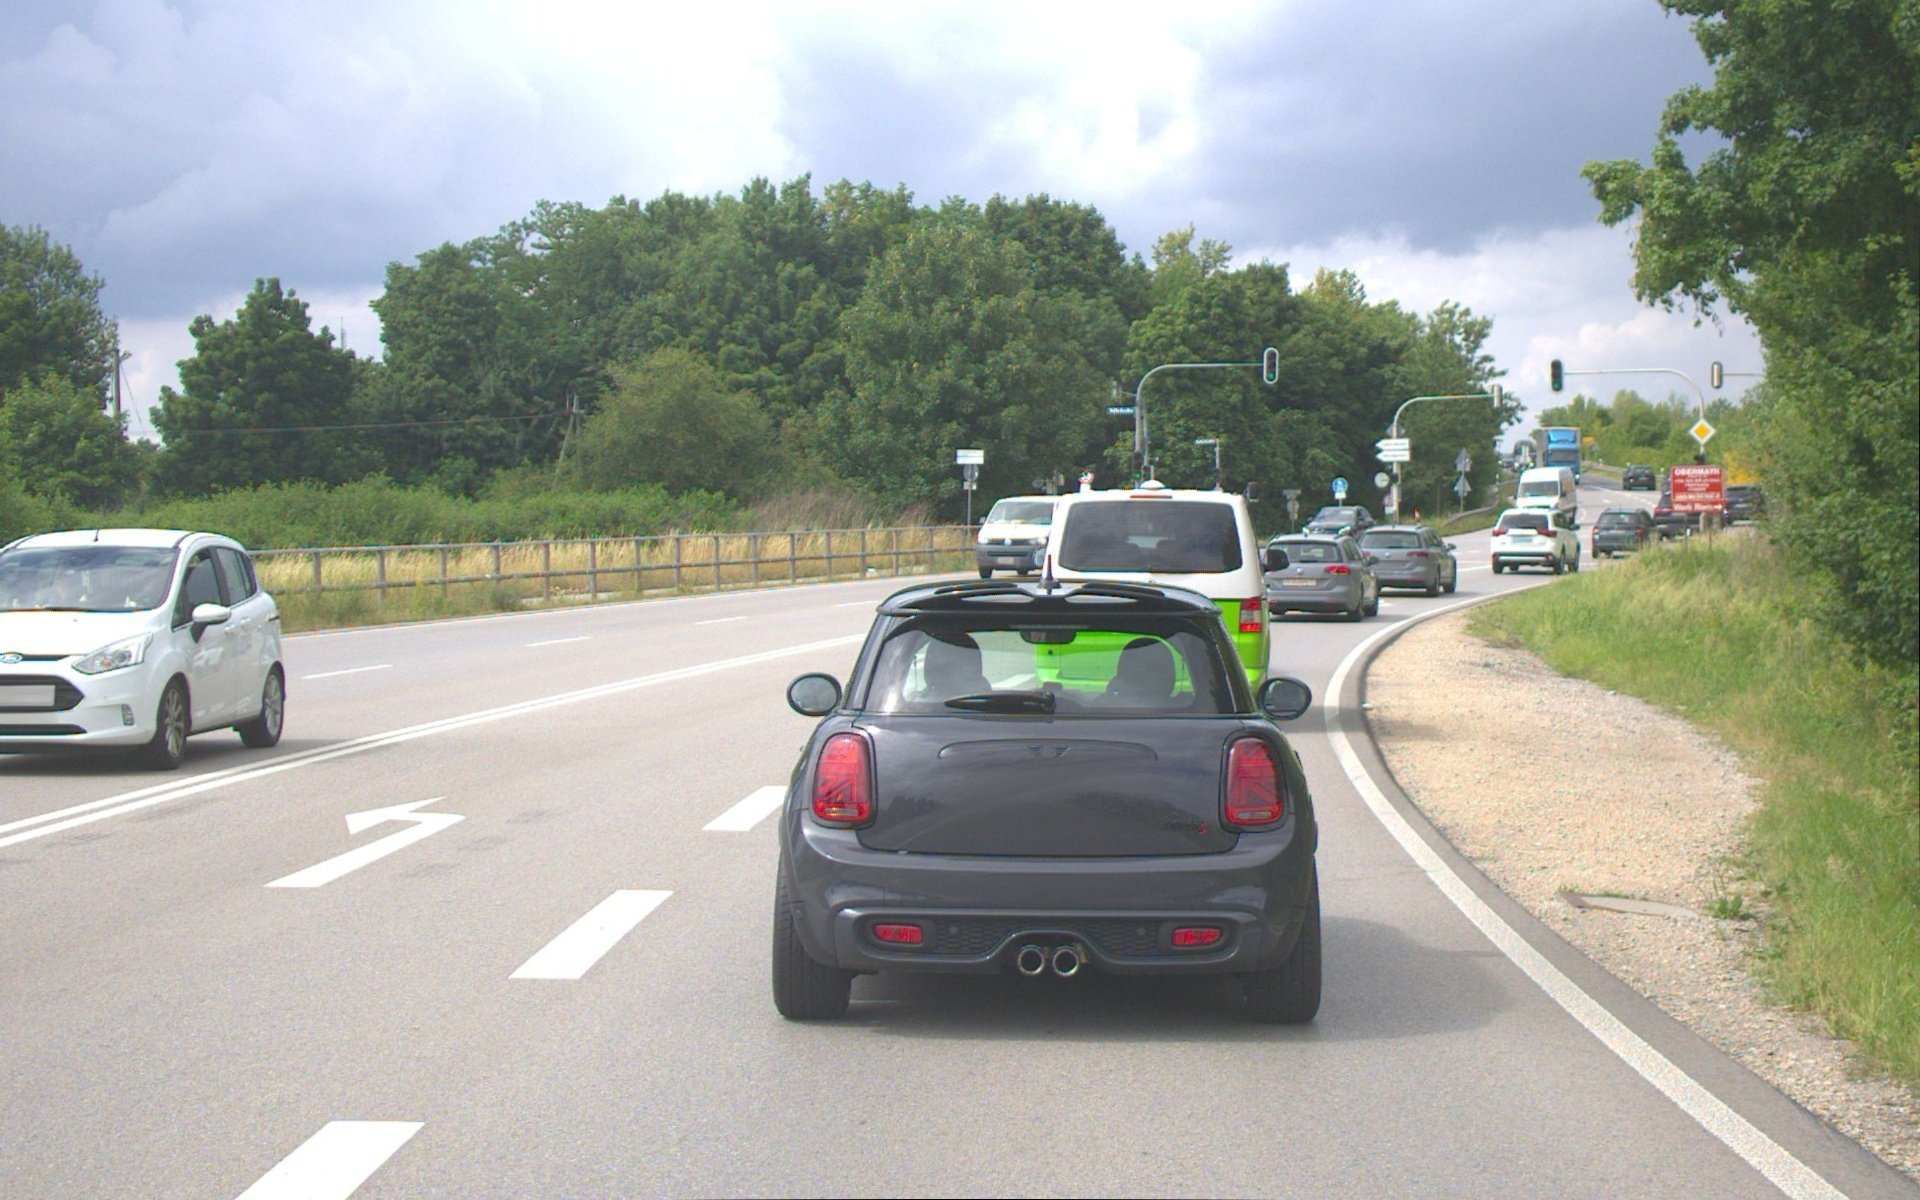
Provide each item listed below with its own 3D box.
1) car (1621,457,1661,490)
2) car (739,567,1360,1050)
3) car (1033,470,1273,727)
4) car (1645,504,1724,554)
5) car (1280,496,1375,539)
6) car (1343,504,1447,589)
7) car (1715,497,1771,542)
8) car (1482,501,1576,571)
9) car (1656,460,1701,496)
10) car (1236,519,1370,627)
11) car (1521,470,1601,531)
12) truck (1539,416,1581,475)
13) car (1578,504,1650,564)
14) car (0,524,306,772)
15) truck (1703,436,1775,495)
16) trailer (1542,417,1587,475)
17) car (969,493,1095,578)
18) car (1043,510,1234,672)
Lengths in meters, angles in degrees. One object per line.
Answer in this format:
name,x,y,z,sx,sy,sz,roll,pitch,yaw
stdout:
car,44.613,-8.289,225.295,1.994,2.007,4.000,1,0,2
car,0.285,0.610,12.237,1.845,1.423,3.841,1,0,1
car,1.596,-0.043,28.811,1.845,1.980,3.841,1,1,3
car,25.175,-2.475,119.359,1.995,1.690,4.481,1,2,21
car,12.494,-2.801,116.697,1.811,1.436,4.347,1,2,26
car,9.101,-1.093,71.683,1.994,1.678,3.976,2,1,9
car,31.203,-3.192,136.882,1.995,1.690,4.483,2,1,14
car,14.633,-1.619,88.215,1.995,1.678,3.997,2,1,14
car,43.311,-7.337,207.261,2.181,2.007,3.999,1,0,5
car,5.670,-0.449,57.274,1.994,1.678,4.000,2,1,3
car,26.931,-4.455,153.925,2.436,2.665,6.882,1,2,19
truck,42.474,-10.911,243.365,2.542,4.082,3.997,0,2,16
car,19.605,-1.966,103.015,1.994,1.678,3.998,2,1,12
car,-5.784,0.258,23.471,1.730,1.513,4.000,1,1,2
truck,39.575,-6.830,174.818,2.717,2.887,8.769,0,2,7
trailer,43.435,-11.008,246.787,2.529,4.086,6.730,0,2,16
car,1.797,-1.576,83.877,1.995,2.007,4.664,1,1,15
car,2.003,-0.114,38.314,1.994,1.678,4.000,1,1,3
